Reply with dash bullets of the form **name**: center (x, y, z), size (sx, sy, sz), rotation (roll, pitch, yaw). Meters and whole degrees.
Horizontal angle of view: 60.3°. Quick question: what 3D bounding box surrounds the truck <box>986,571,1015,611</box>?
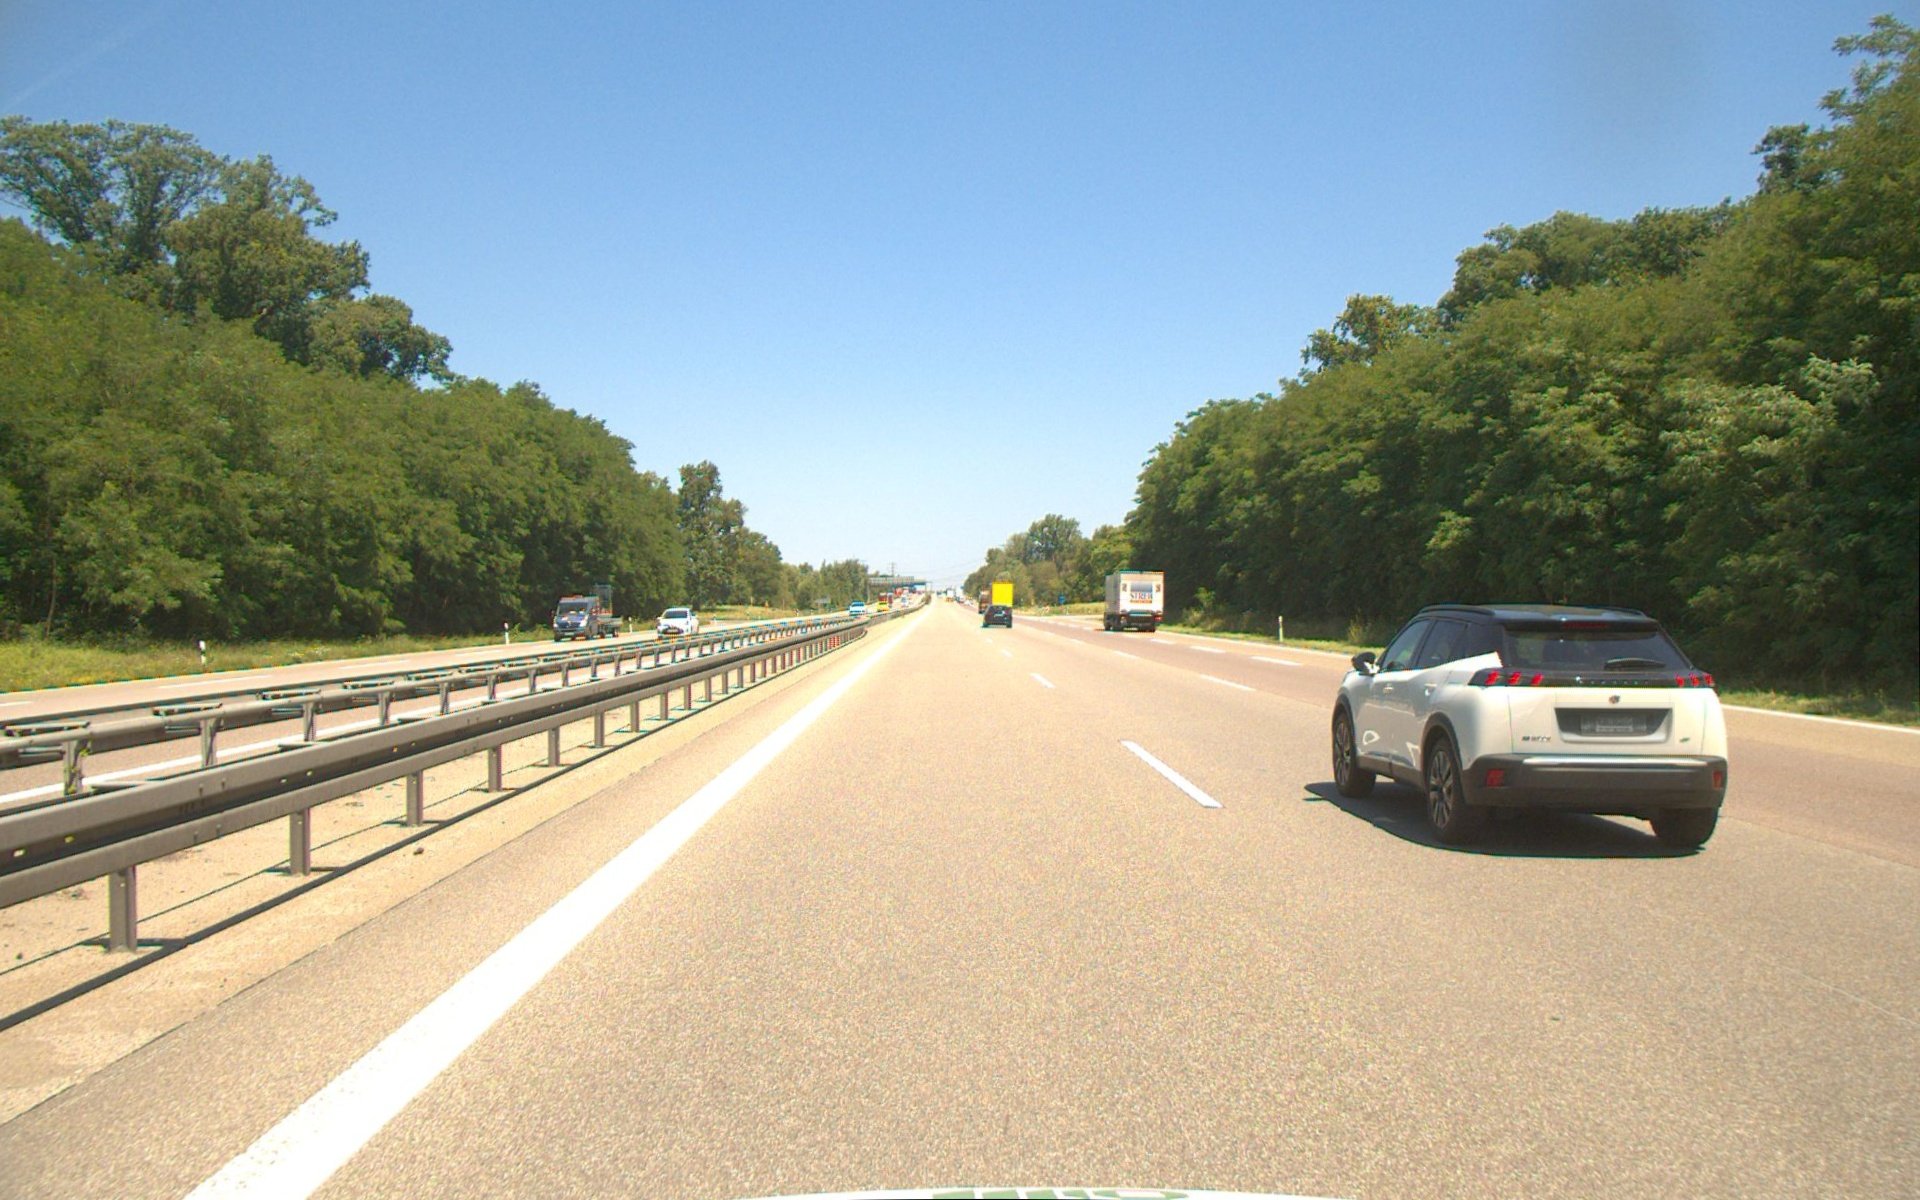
- **truck**: center (5.195, -1.073, 214.356), size (3.308, 4.966, 15.085), rotation (1, 0, 0)

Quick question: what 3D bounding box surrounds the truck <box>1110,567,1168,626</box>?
- **truck**: center (10.724, -0.187, 99.921), size (2.965, 3.377, 10.775), rotation (1, 0, 4)

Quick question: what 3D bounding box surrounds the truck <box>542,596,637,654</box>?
- **truck**: center (-21.172, 1.382, 95.274), size (2.697, 3.043, 12.852), rotation (-1, 0, -1)

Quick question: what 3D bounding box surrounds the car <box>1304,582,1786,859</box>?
- **car**: center (3.969, 0.723, 12.204), size (1.790, 1.636, 4.807), rotation (0, 0, -1)

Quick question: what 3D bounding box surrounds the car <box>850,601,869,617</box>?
- **car**: center (-11.849, 1.024, 195.409), size (1.953, 1.736, 5.264), rotation (1, 1, -1)

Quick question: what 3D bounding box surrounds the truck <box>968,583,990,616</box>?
- **truck**: center (2.930, -0.002, 257.130), size (3.298, 4.966, 15.085), rotation (1, 0, 0)

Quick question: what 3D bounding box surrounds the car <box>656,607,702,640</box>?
- **car**: center (-14.120, 1.169, 83.302), size (1.654, 1.571, 4.203), rotation (1, 0, -1)

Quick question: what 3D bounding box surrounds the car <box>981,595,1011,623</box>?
- **car**: center (2.274, 0.549, 105.497), size (1.790, 1.736, 3.999), rotation (1, 0, -1)
